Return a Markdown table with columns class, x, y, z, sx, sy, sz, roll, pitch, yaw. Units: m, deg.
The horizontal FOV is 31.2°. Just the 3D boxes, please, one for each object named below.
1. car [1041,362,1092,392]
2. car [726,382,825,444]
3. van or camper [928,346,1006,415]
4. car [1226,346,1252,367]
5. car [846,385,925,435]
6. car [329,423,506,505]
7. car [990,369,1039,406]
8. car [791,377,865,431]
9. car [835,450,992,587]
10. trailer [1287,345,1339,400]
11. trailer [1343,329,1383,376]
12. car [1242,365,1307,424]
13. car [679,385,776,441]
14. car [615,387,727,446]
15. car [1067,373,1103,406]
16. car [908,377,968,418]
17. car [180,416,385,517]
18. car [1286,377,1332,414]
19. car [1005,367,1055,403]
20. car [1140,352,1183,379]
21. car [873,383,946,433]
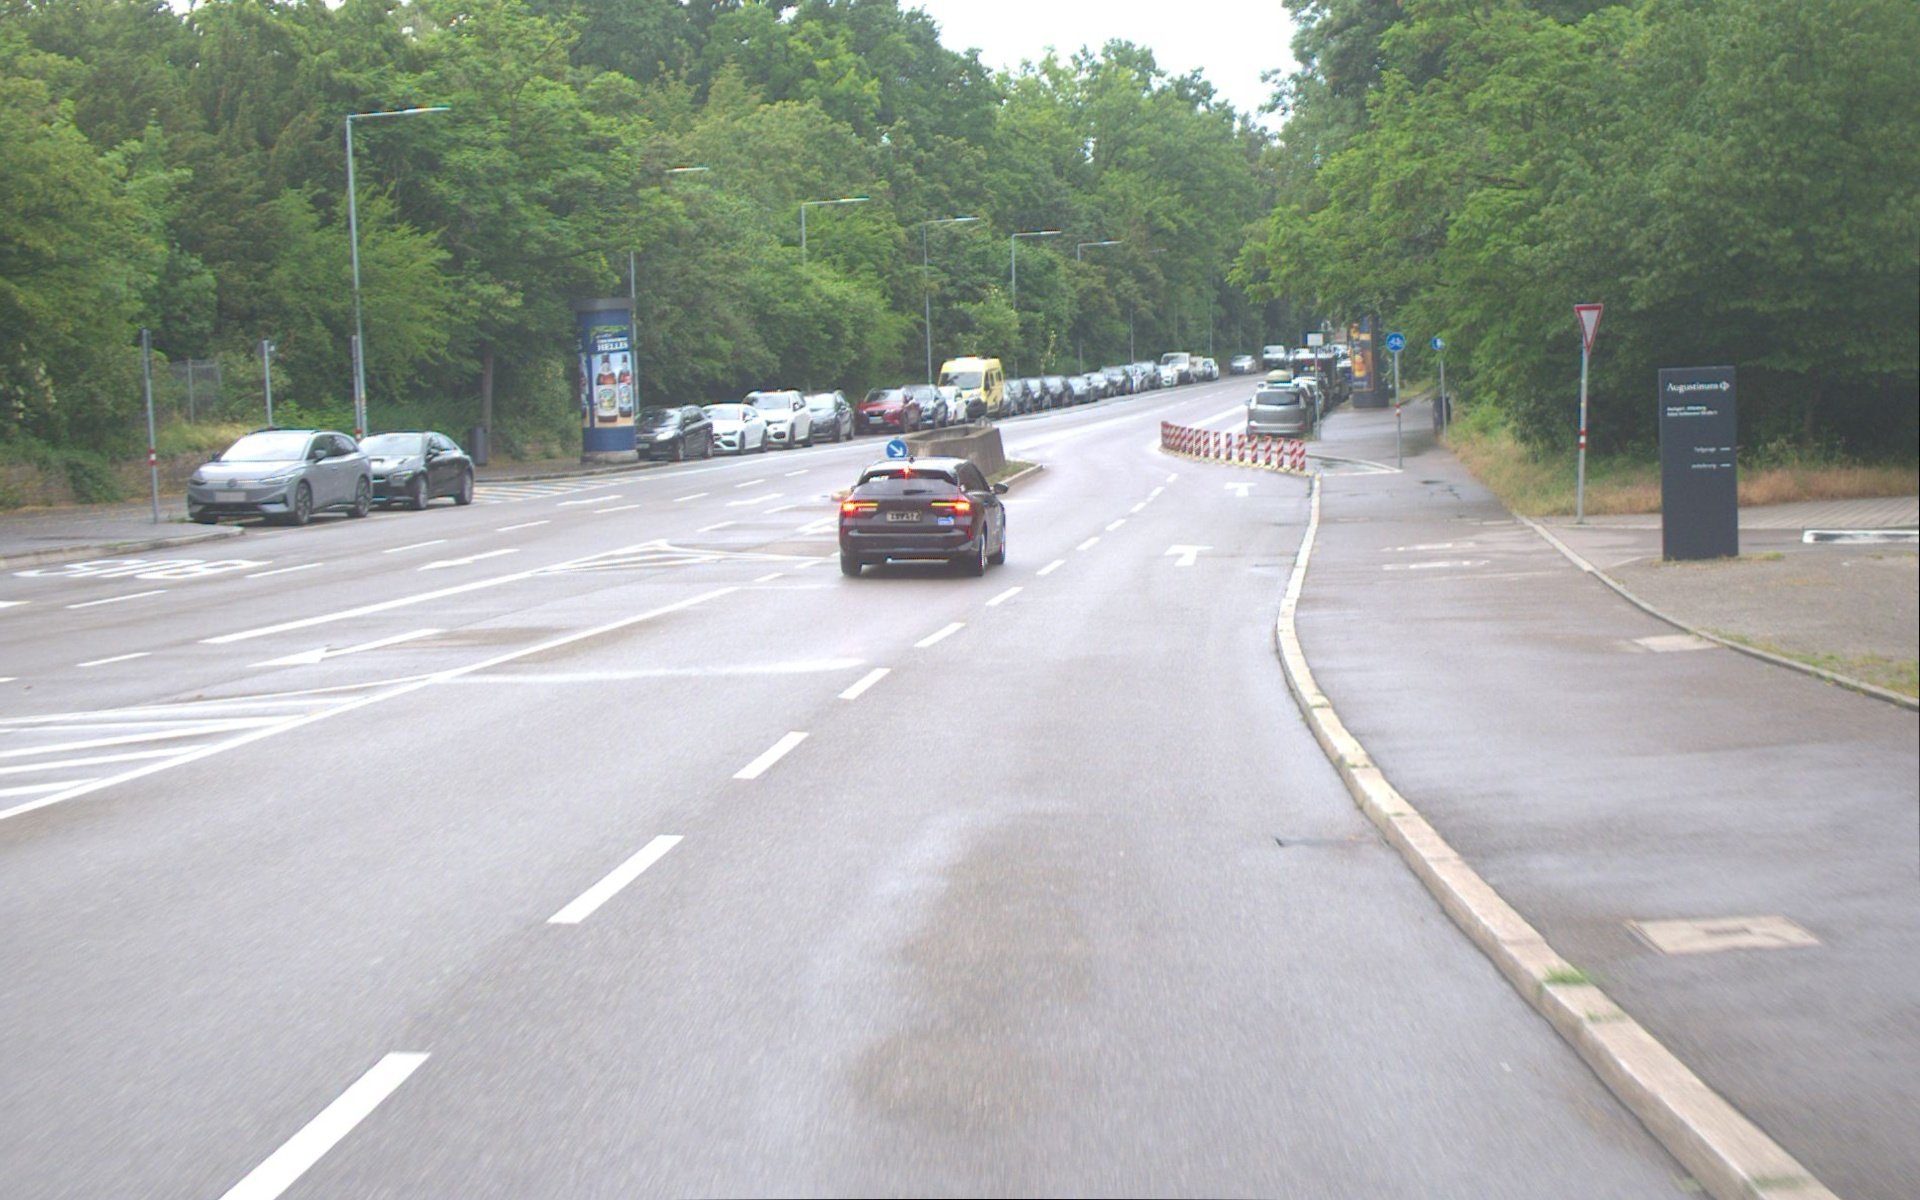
| class | x | y | z | sx | sy | sz | roll | pitch | yaw |
| --- | --- | --- | --- | --- | --- | --- | --- | --- | --- |
| car | 5.134 | -10.712 | 165.185 | 1.870 | 1.299 | 4.470 | -1 | 5 | 9 |
| car | -5.573 | -5.708 | 104.544 | 1.994 | 1.759 | 4.960 | -1 | 4 | 9 |
| van or camper | 0.321 | -8.974 | 140.155 | 2.144 | 2.617 | 5.681 | -1 | 5 | 11 |
| car | 20.917 | -18.258 | 257.415 | 1.673 | 1.508 | 3.630 | 0 | 5 | 9 |
| car | -2.639 | -6.832 | 123.133 | 1.920 | 1.611 | 4.489 | -1 | 4 | 10 |
| car | -10.086 | -2.571 | 64.298 | 1.907 | 1.409 | 4.782 | 0 | 4 | 9 |
| car | 2.409 | -9.309 | 150.758 | 1.603 | 1.504 | 3.138 | -1 | 5 | 11 |
| car | -4.250 | -6.377 | 111.609 | 1.731 | 1.643 | 4.571 | 0 | 4 | 6 |
| car | -0.563 | -1.060 | 43.173 | 1.881 | 1.460 | 4.001 | 0 | 5 | 0 |
| trailer | 15.144 | -9.779 | 147.366 | 1.907 | 2.239 | 4.767 | 0 | 5 | 9 |
| trailer | 22.665 | -13.905 | 193.136 | 2.132 | 2.551 | 4.297 | -1 | 5 | 8 |
| car | 9.034 | -5.924 | 98.910 | 1.822 | 1.609 | 4.252 | 0 | 4 | 5 |
| car | -6.640 | -5.378 | 98.650 | 1.719 | 1.455 | 4.707 | -1 | 4 | 10 |
| car | -7.765 | -4.973 | 92.677 | 1.750 | 1.440 | 4.586 | 0 | 5 | 12 |
| car | 6.284 | -10.607 | 172.852 | 1.461 | 1.565 | 2.984 | -1 | 5 | 9 |
| car | -0.833 | -7.851 | 133.141 | 1.618 | 1.443 | 3.656 | -2 | 4 | 10 |
| car | -11.404 | -2.300 | 58.204 | 1.841 | 1.583 | 4.928 | 0 | 4 | 9 |
| car | 14.282 | -8.376 | 140.574 | 1.822 | 1.480 | 4.200 | 0 | 4 | 7 |
| car | 3.174 | -9.750 | 156.036 | 1.603 | 1.504 | 3.976 | -1 | 5 | 11 |
| car | 11.858 | -13.761 | 201.887 | 1.994 | 1.483 | 4.468 | 0 | 5 | 10 |
| car | -1.847 | -7.159 | 127.721 | 1.994 | 1.694 | 4.615 | -1 | 5 | 8 |
